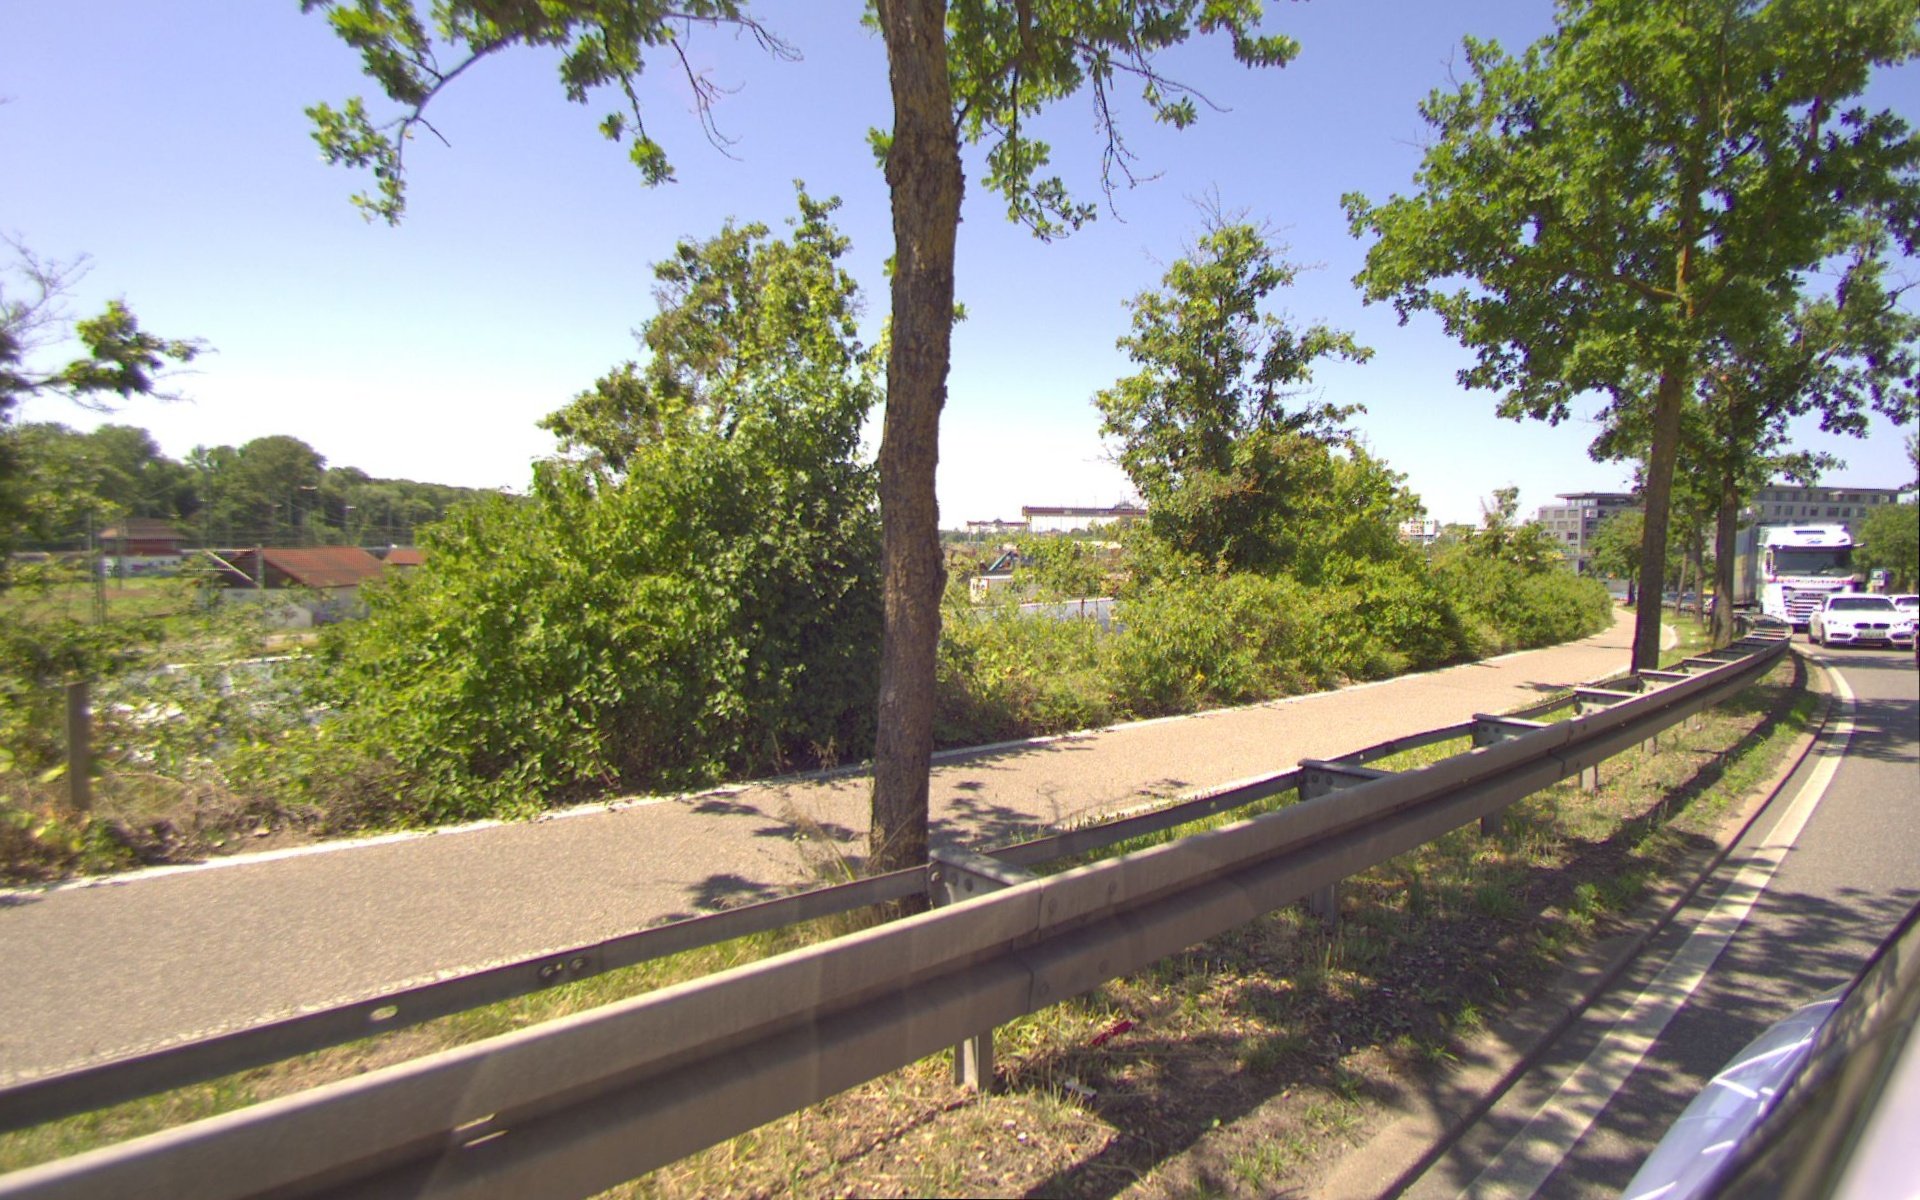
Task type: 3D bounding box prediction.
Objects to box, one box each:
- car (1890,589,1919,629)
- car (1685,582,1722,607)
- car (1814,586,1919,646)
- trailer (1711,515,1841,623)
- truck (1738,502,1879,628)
[{"bbox_3d":[37.052,0.320,38.667,1.720,1.457,3.972,0,1,36],"label":"car"},{"bbox_3d":[50.399,-0.389,68.637,1.965,1.596,3.949,1,1,36],"label":"car"},{"bbox_3d":[23.731,0.358,26.534,1.807,1.446,3.666,1,1,37],"label":"car"},{"bbox_3d":[37.195,-1.353,46.661,2.860,4.266,13.851,1,1,32],"label":"trailer"},{"bbox_3d":[32.687,-1.273,39.349,2.837,4.322,8.718,1,1,31],"label":"truck"}]
